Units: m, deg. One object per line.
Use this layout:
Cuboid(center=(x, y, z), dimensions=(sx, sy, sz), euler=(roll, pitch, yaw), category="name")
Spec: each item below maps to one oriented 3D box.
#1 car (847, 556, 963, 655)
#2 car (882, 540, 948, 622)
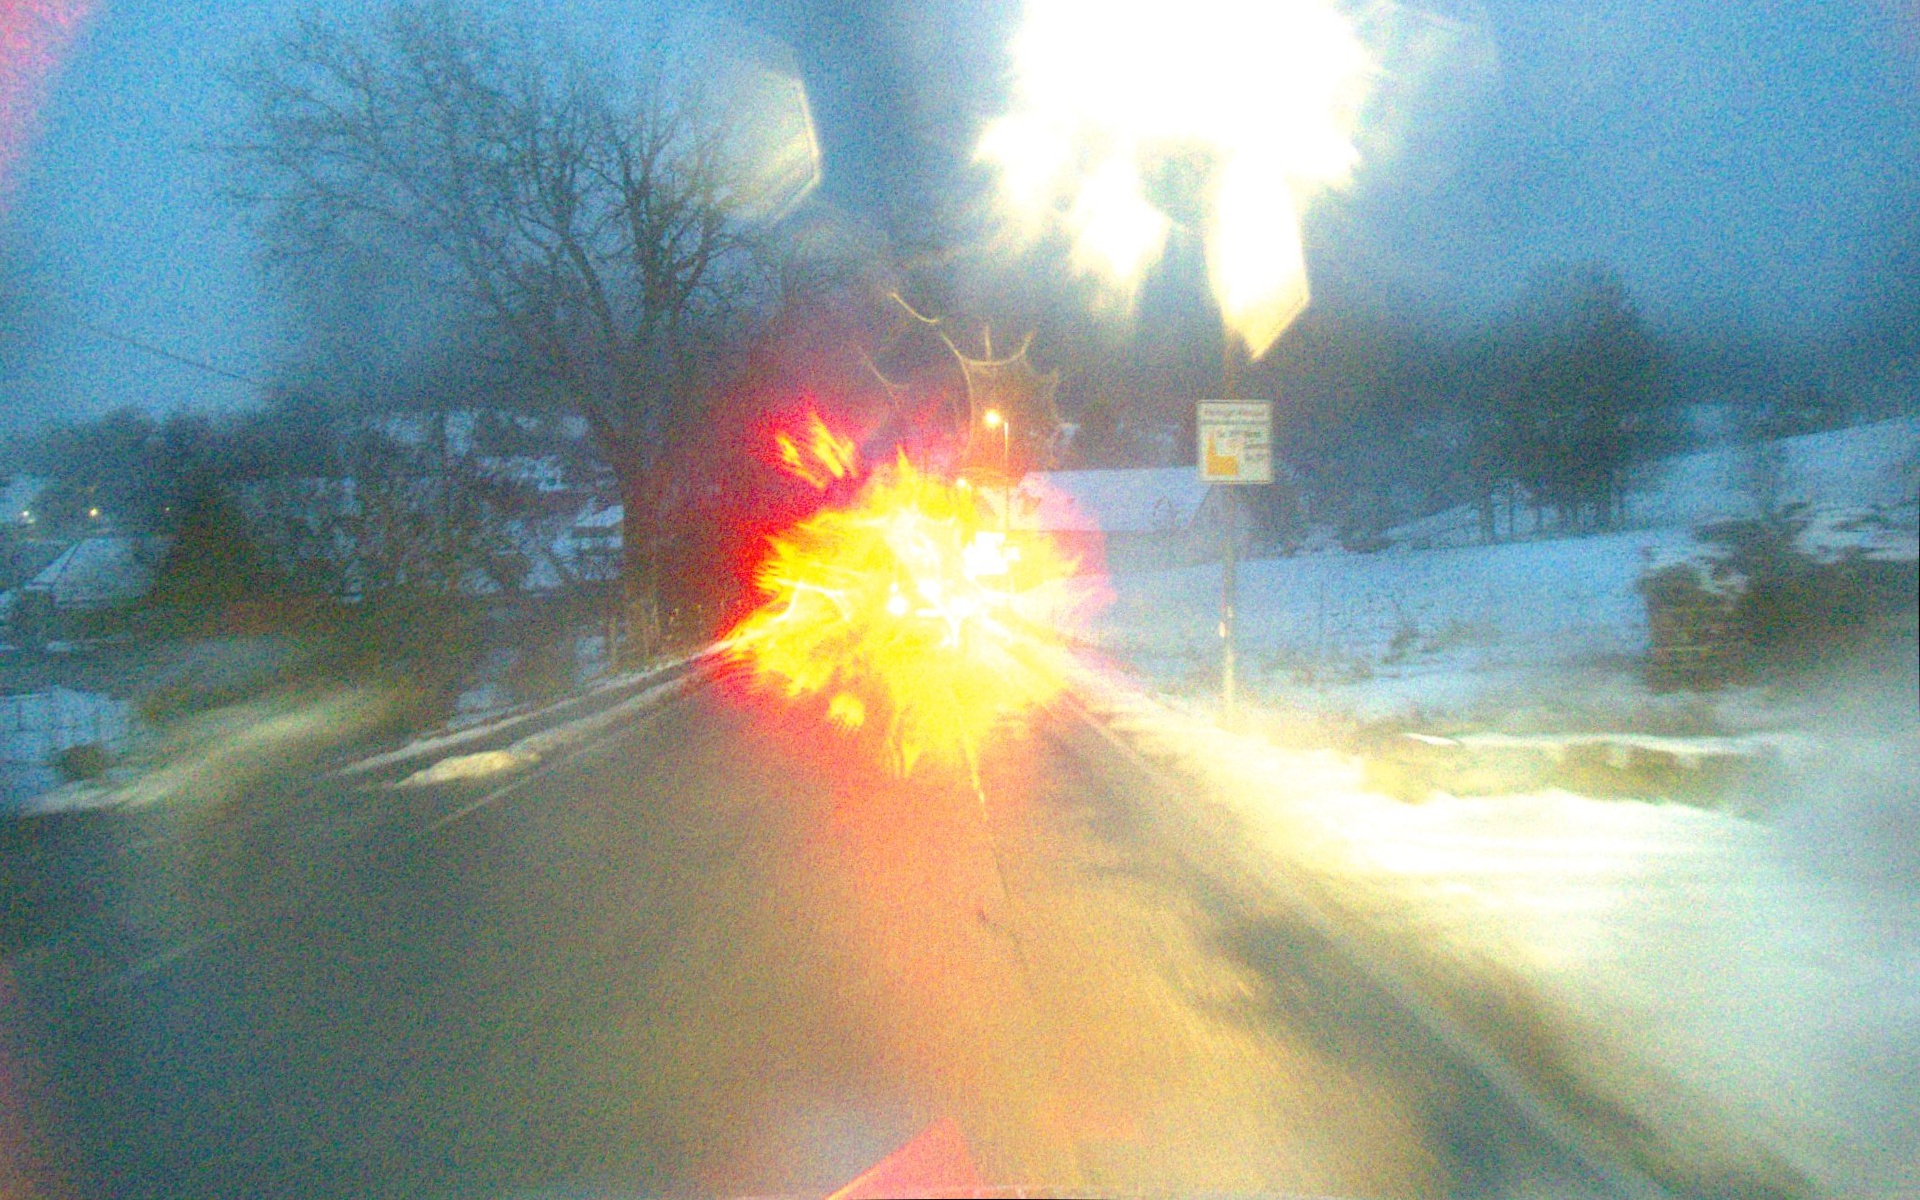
Cuboid(center=(-1.167, 0.085, 35.500), dimensions=(2.228, 1.872, 5.005), euler=(-2, 1, -2), category="car")
Cuboid(center=(-1.777, -0.714, 67.180), dimensions=(2.386, 3.071, 5.324), euler=(-3, -1, 0), category="car")
